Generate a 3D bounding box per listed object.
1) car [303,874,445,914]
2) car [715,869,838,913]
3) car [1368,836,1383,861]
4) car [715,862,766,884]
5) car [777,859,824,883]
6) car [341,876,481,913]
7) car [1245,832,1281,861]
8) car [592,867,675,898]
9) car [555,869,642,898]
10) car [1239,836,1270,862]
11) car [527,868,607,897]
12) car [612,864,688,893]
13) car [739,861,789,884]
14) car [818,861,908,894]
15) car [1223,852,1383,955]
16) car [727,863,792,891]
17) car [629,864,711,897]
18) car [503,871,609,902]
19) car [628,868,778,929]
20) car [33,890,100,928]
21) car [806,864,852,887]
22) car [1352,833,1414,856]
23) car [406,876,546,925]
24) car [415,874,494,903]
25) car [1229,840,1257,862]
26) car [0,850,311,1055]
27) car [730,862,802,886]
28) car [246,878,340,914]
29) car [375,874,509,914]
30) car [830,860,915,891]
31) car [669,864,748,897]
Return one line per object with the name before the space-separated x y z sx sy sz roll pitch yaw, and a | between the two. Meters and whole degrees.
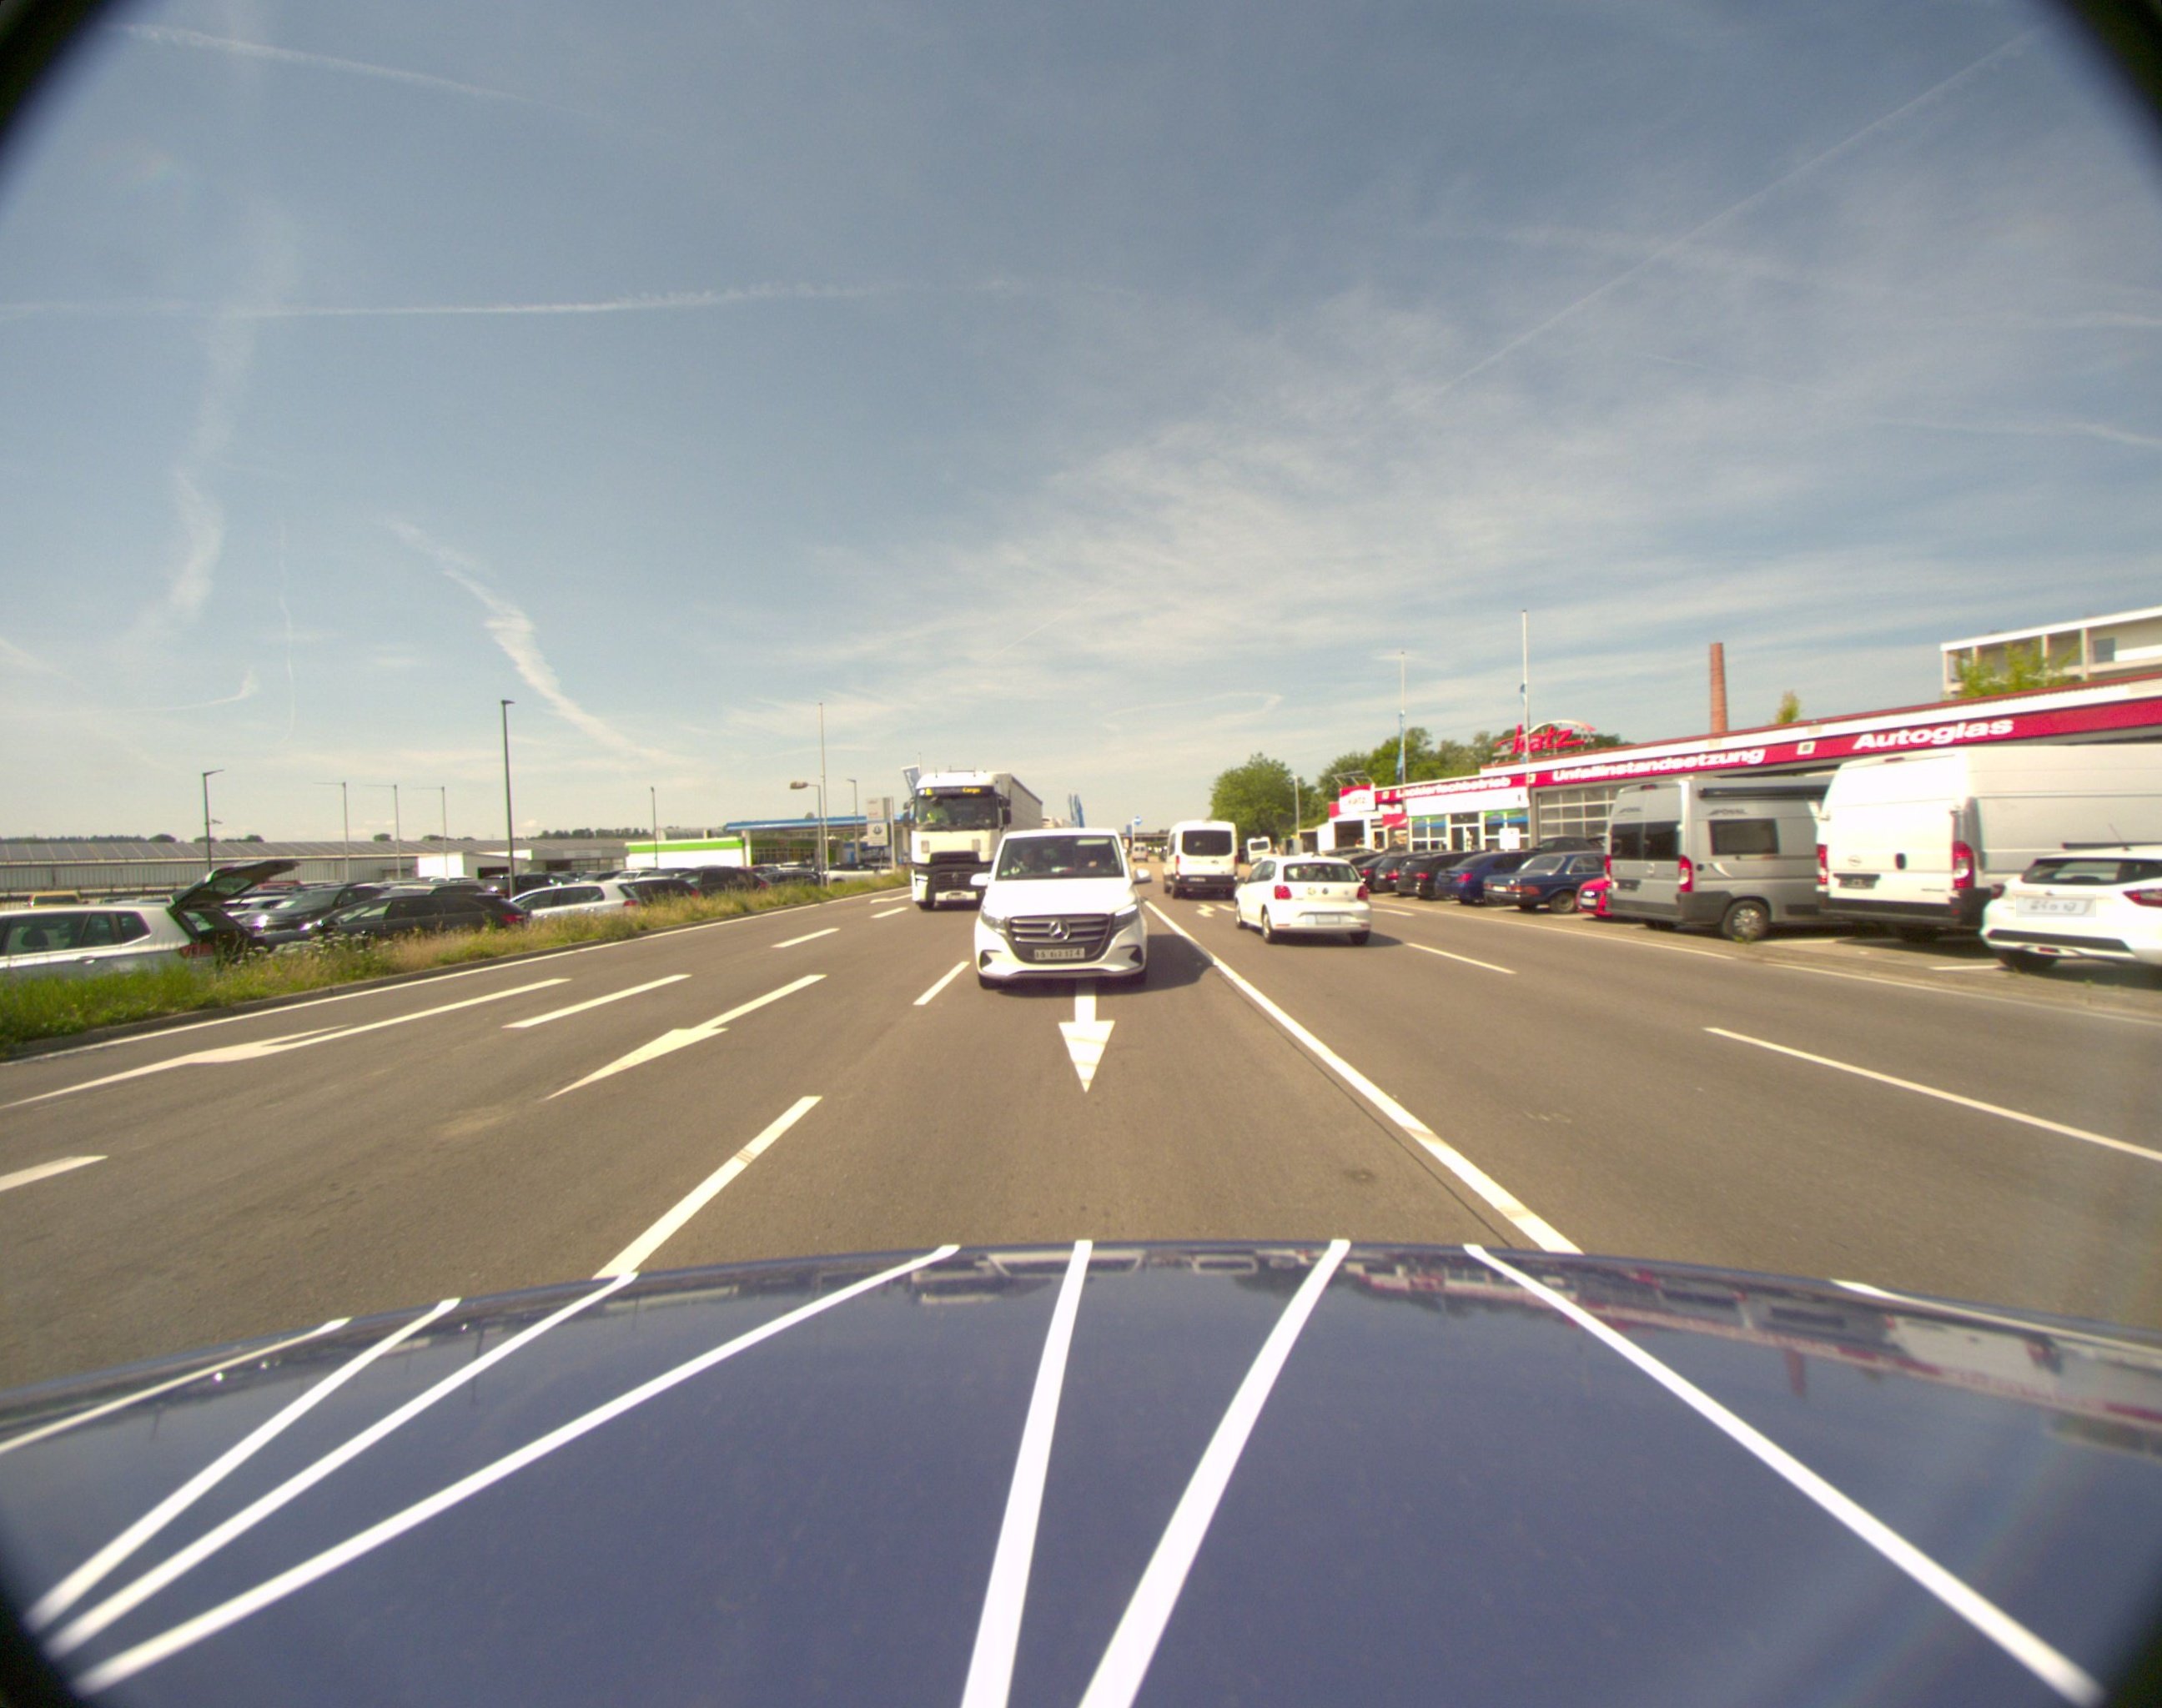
car | -33.500 1.849 36.164 1.819 1.574 4.545 -1 1 23
car | -12.755 1.491 31.867 4.545 1.571 1.772 -1 1 -30
car | 22.290 -0.438 57.494 0.881 1.825 0.846 -2 1 14
car | -27.013 1.468 60.473 1.720 1.571 4.325 -1 0 6
car | -21.968 1.300 59.758 1.712 1.703 4.261 -1 0 6
car | -31.080 1.842 35.417 1.819 1.423 4.491 -1 0 23
car | 16.792 -0.689 69.739 2.435 2.529 6.050 -2 0 20
car | -25.658 1.588 43.765 1.689 1.517 4.540 -1 0 6
car | -27.960 1.677 44.199 1.774 1.433 4.540 -1 0 6
car | 18.498 -0.509 81.136 2.438 2.529 5.341 -2 0 5
car | -30.501 1.678 45.249 1.607 1.523 4.131 -1 0 6
car | -27.886 1.535 49.340 1.773 1.645 4.541 -1 0 10
car | -24.746 1.426 59.510 1.774 1.571 4.240 -1 0 6
car | -12.048 1.248 42.025 4.544 1.645 1.772 -1 1 -26
car | 3.792 0.764 13.703 1.657 1.546 3.999 0 0 -1
car | -20.322 1.407 48.232 1.774 1.571 4.540 -1 0 6
car | -23.227 1.477 43.181 1.774 1.645 4.540 -1 0 6
car | -27.445 1.703 39.782 4.530 1.450 1.951 -1 1 12
car | -11.786 1.317 23.757 4.006 1.645 1.772 -2 1 -32
car | -58.216 3.096 43.646 4.148 1.920 2.215 -1 1 37
car | -19.614 1.667 59.356 1.774 1.571 4.149 -1 0 6
car | 24.515 -0.764 61.672 4.539 1.644 1.873 -2 1 -17
car | -23.926 1.787 30.301 1.774 1.645 4.434 -1 0 4
car | -39.789 2.180 48.257 4.527 1.718 2.072 -1 1 24
car | 18.463 -0.340 86.996 2.438 2.250 5.341 -2 0 5
car | -12.428 1.099 8.931 4.355 2.200 1.759 -1 1 -29
car | -23.017 1.441 55.525 4.532 1.571 1.777 -1 1 8
car | -42.674 2.269 41.151 4.527 1.644 2.072 -3 0 24
car | -28.500 1.742 34.059 1.819 1.532 4.213 -1 1 23
car | -12.293 1.235 44.839 4.543 1.645 1.772 -1 1 -24
car | -20.719 1.428 42.525 1.774 1.645 4.540 -1 0 6
